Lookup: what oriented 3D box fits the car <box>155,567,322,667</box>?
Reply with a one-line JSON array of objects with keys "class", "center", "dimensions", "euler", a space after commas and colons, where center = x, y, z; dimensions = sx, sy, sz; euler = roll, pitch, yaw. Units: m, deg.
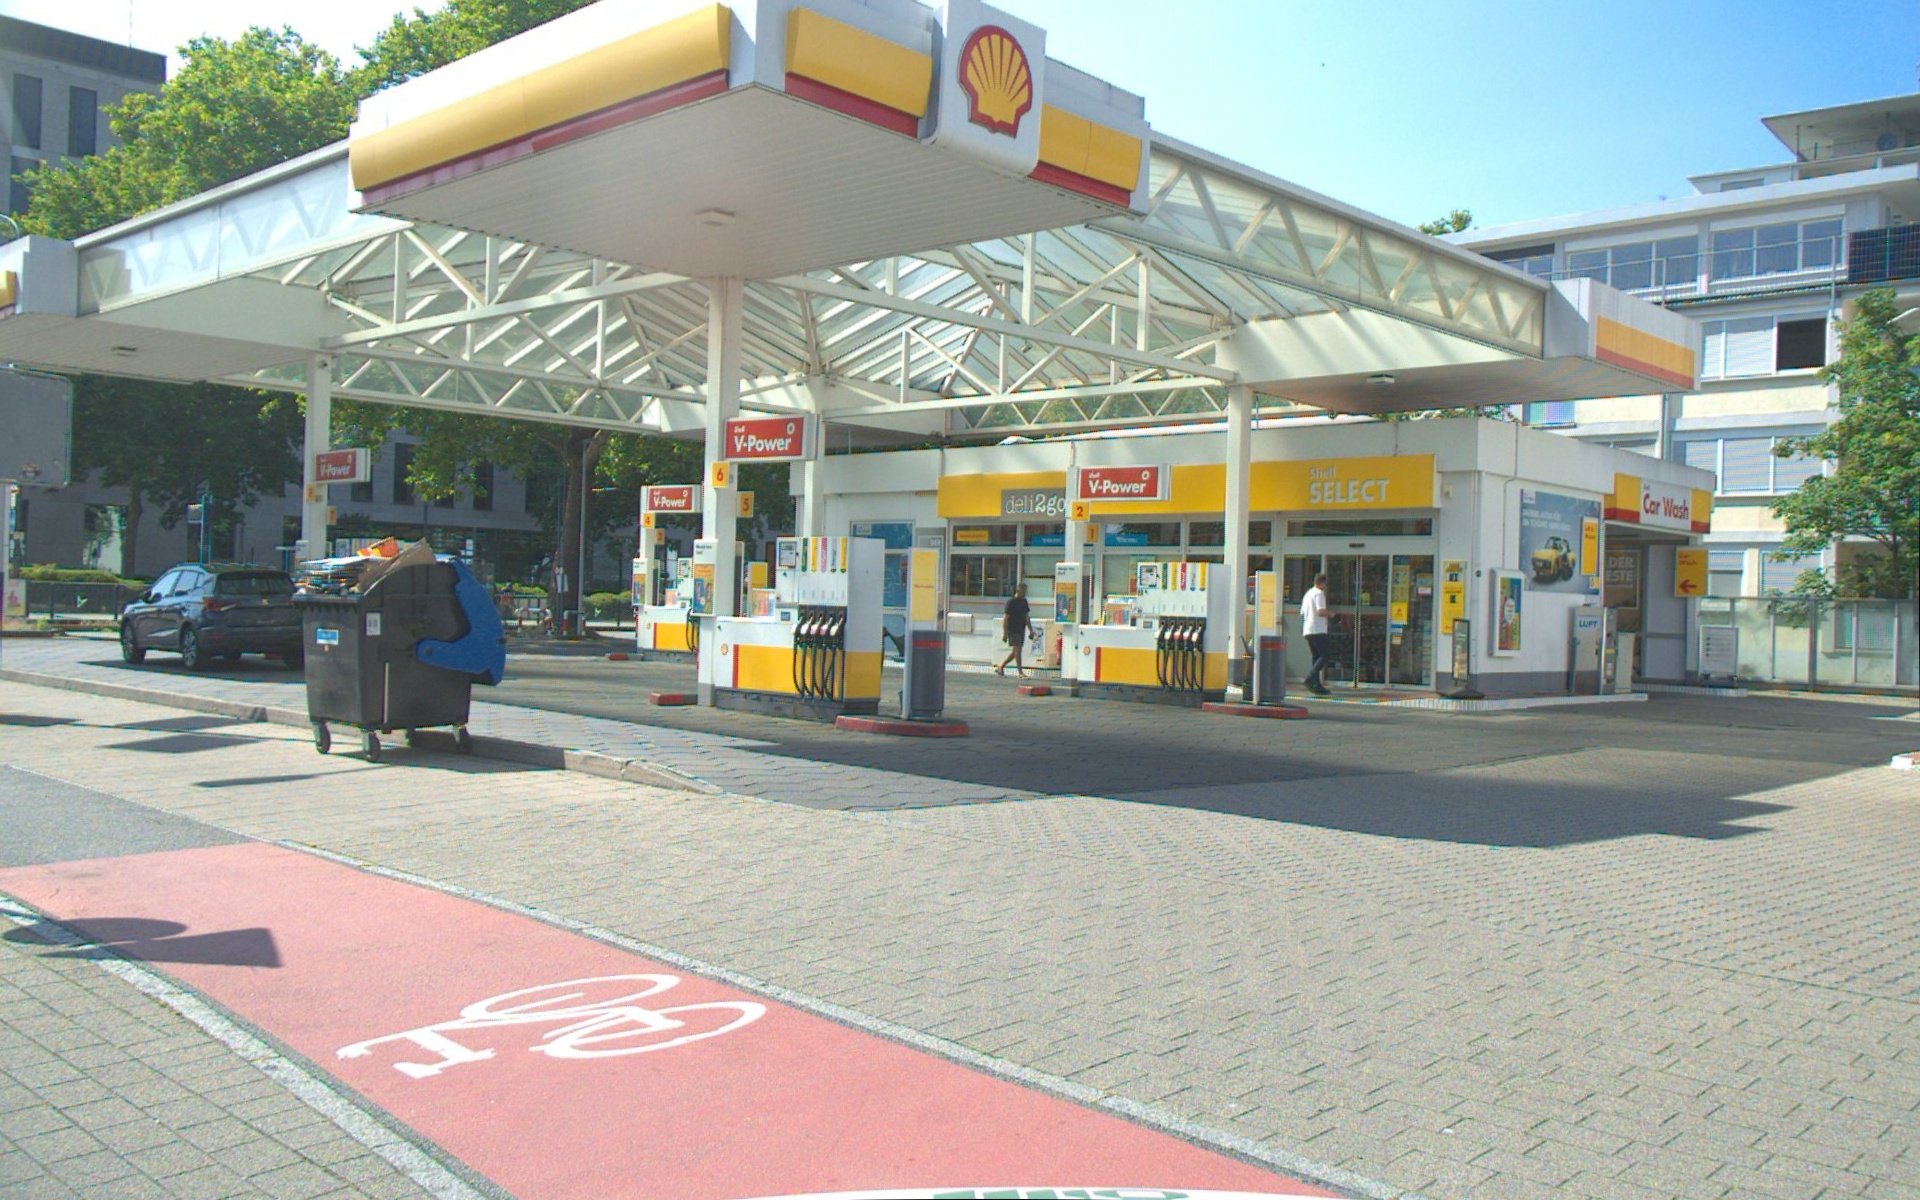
[{"class": "car", "center": [-11.126, 0.248, 25.400], "dimensions": [1.636, 1.422, 3.596], "euler": [2, -1, -35]}]

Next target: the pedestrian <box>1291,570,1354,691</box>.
[{"class": "pedestrian", "center": [5.788, 0.483, 26.401], "dimensions": [0.838, 1.870, 0.745], "euler": [1, -1, 22]}]

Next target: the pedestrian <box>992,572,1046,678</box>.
[{"class": "pedestrian", "center": [1.043, 0.442, 29.252], "dimensions": [0.669, 1.853, 0.622], "euler": [2, -1, -40]}]

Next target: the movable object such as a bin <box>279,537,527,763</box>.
[{"class": "movable object such as a bin", "center": [-4.304, 0.335, 12.790], "dimensions": [1.371, 1.620, 1.304], "euler": [1, 2, 41]}]
